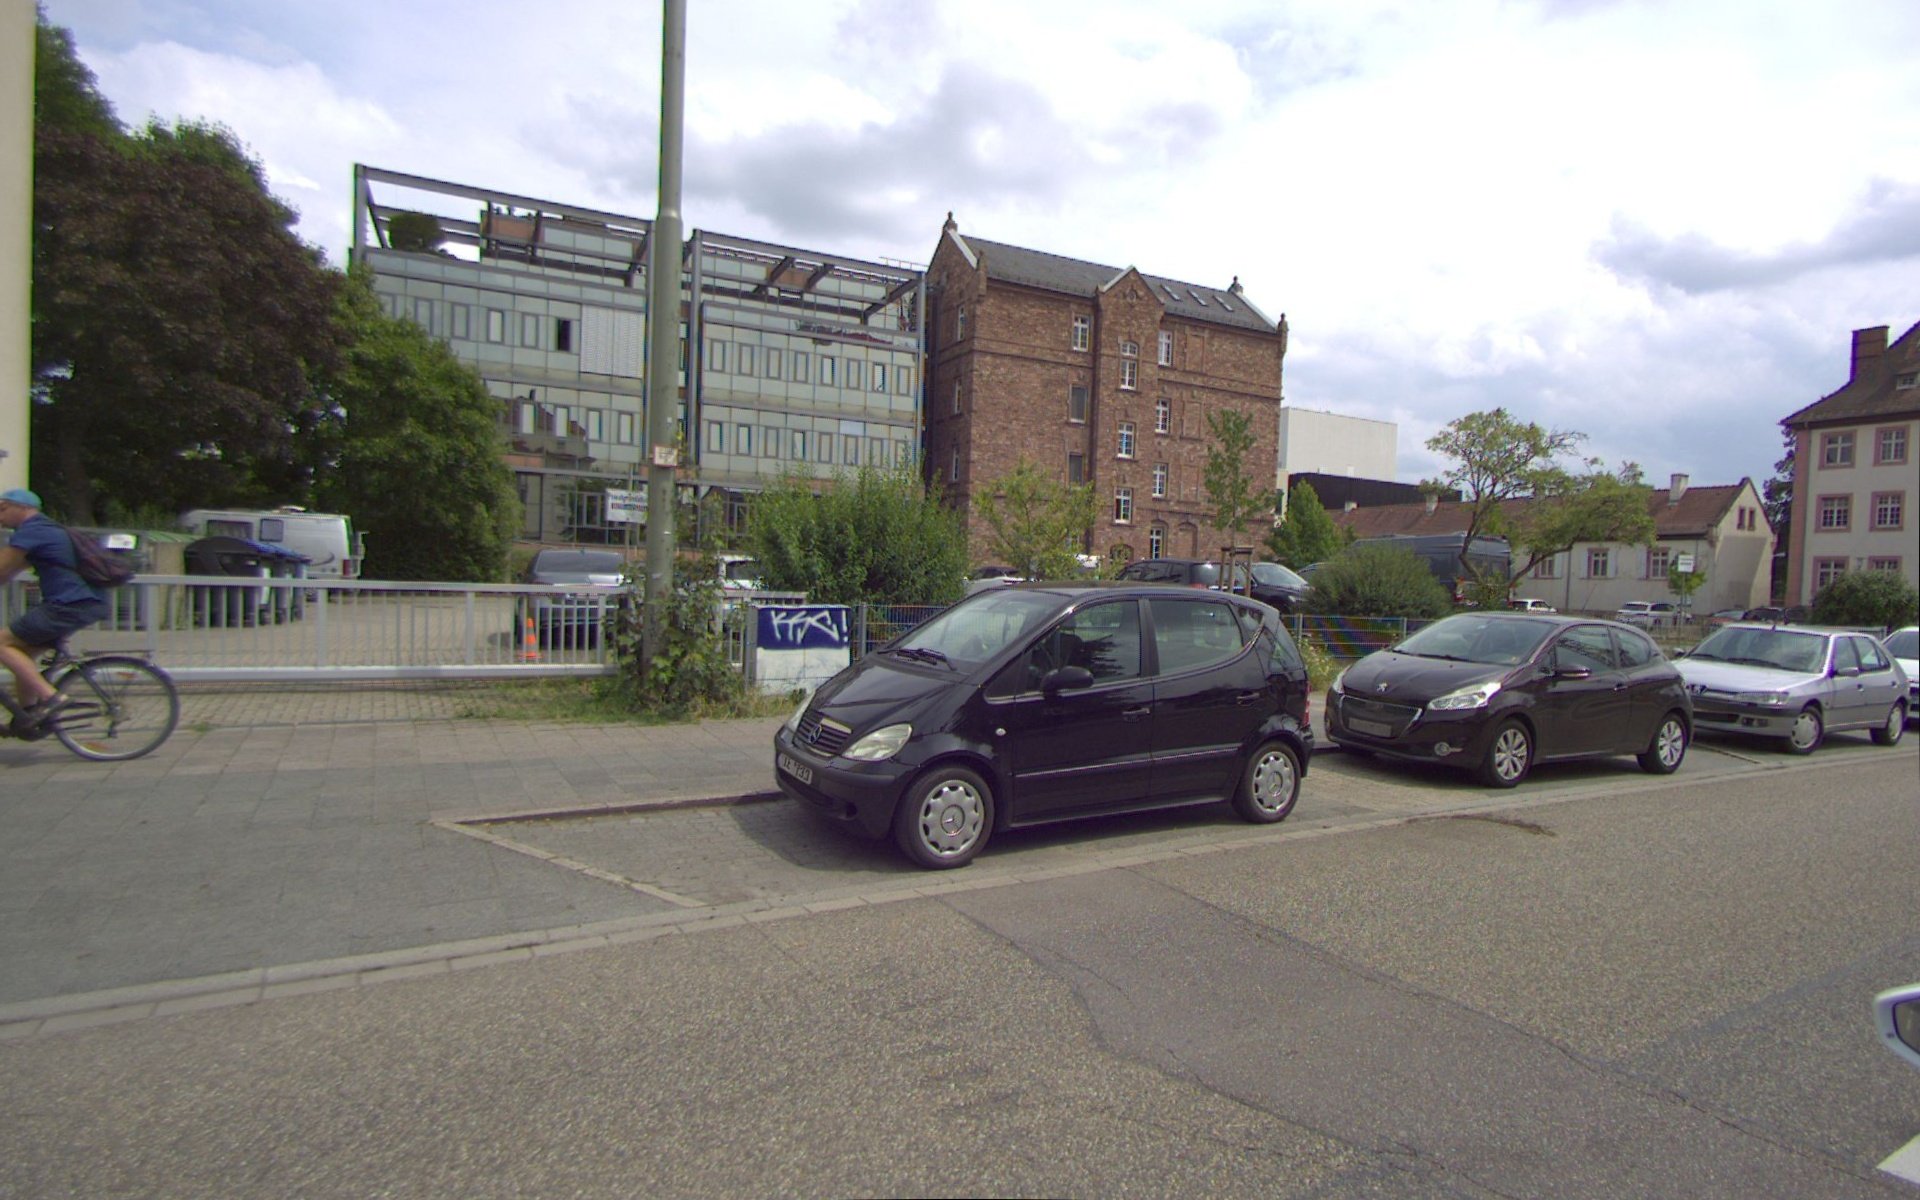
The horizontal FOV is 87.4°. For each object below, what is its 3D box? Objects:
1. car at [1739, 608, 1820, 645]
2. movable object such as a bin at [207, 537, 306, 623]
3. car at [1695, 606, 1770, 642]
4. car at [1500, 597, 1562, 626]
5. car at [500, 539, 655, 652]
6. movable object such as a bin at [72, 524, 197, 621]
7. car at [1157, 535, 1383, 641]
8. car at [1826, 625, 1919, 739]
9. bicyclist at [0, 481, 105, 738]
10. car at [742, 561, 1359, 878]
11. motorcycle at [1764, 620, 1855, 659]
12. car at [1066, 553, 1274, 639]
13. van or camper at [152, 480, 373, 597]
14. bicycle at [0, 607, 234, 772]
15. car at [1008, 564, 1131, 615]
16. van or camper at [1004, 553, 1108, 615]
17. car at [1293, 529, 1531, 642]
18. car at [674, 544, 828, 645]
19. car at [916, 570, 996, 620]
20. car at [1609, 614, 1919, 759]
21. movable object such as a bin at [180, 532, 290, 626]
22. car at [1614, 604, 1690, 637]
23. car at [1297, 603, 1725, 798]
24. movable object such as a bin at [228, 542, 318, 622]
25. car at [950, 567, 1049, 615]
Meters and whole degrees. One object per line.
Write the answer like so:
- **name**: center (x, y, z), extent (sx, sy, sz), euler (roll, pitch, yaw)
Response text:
- **car**: center (42.286, 1.330, 51.808), extent (3.905, 1.734, 1.761), euler (-1, 2, -26)
- **movable object such as a bin**: center (-12.513, -0.328, 17.916), extent (1.286, 1.431, 1.239), euler (2, -1, -30)
- **car**: center (41.703, 1.263, 54.219), extent (3.647, 1.734, 1.761), euler (-1, 2, -26)
- **car**: center (36.845, 0.729, 64.804), extent (3.647, 1.734, 1.761), euler (-1, 2, -26)
- **car**: center (-6.026, -0.099, 15.882), extent (1.971, 1.503, 3.979), euler (3, 1, -21)
- **movable object such as a bin**: center (-13.088, -0.405, 15.992), extent (1.286, 1.431, 1.239), euler (2, -1, -30)
- **car**: center (6.999, -0.274, 23.383), extent (2.198, 2.178, 5.071), euler (1, 1, -24)
- **car**: center (15.231, 1.231, 15.509), extent (3.721, 1.550, 1.645), euler (1, 2, -30)
- **bicyclist**: center (-6.228, 0.050, 6.633), extent (0.757, 1.629, 0.611), euler (2, 2, -30)
- **car**: center (0.719, 0.632, 6.788), extent (3.956, 1.596, 1.613), euler (2, 1, -32)
- **motorcycle**: center (26.621, 1.219, 31.530), extent (0.715, 1.157, 2.086), euler (2, -1, -22)
- **car**: center (4.535, -0.139, 22.640), extent (1.973, 1.695, 5.071), euler (1, 1, -24)
- **van or camper**: center (-19.460, -1.649, 28.345), extent (4.839, 2.911, 1.986), euler (2, 1, -27)
- **bicycle**: center (-6.167, 0.579, 6.706), extent (2.057, 1.015, 0.620), euler (2, 2, -31)
- **car**: center (3.867, -0.368, 36.278), extent (2.299, 1.686, 4.678), euler (2, 0, -25)
- **van or camper**: center (4.493, -0.740, 48.004), extent (2.550, 2.739, 5.027), euler (2, 0, -28)
- **car**: center (11.584, -0.478, 26.244), extent (2.323, 2.586, 5.293), euler (2, 3, -25)
- **car**: center (-3.796, -0.132, 17.690), extent (1.971, 1.503, 3.979), euler (3, 1, -21)
- **car**: center (-0.245, -0.239, 47.075), extent (2.173, 2.165, 4.351), euler (2, 0, -23)
- **car**: center (10.138, 0.979, 12.518), extent (4.213, 1.477, 1.679), euler (1, 1, -30)
- **movable object such as a bin**: center (-11.909, -0.321, 16.562), extent (1.286, 1.431, 1.239), euler (2, -1, -30)
- **car**: center (39.792, 1.163, 57.758), extent (4.233, 1.734, 1.761), euler (-1, 2, -26)
- **car**: center (5.388, 0.871, 9.751), extent (3.998, 1.490, 1.680), euler (2, 2, -28)
- **movable object such as a bin**: center (-13.135, -0.329, 19.265), extent (1.286, 1.431, 1.239), euler (2, -1, -30)
- **car**: center (1.306, -0.359, 35.167), extent (1.596, 1.503, 4.139), euler (2, 1, -27)
